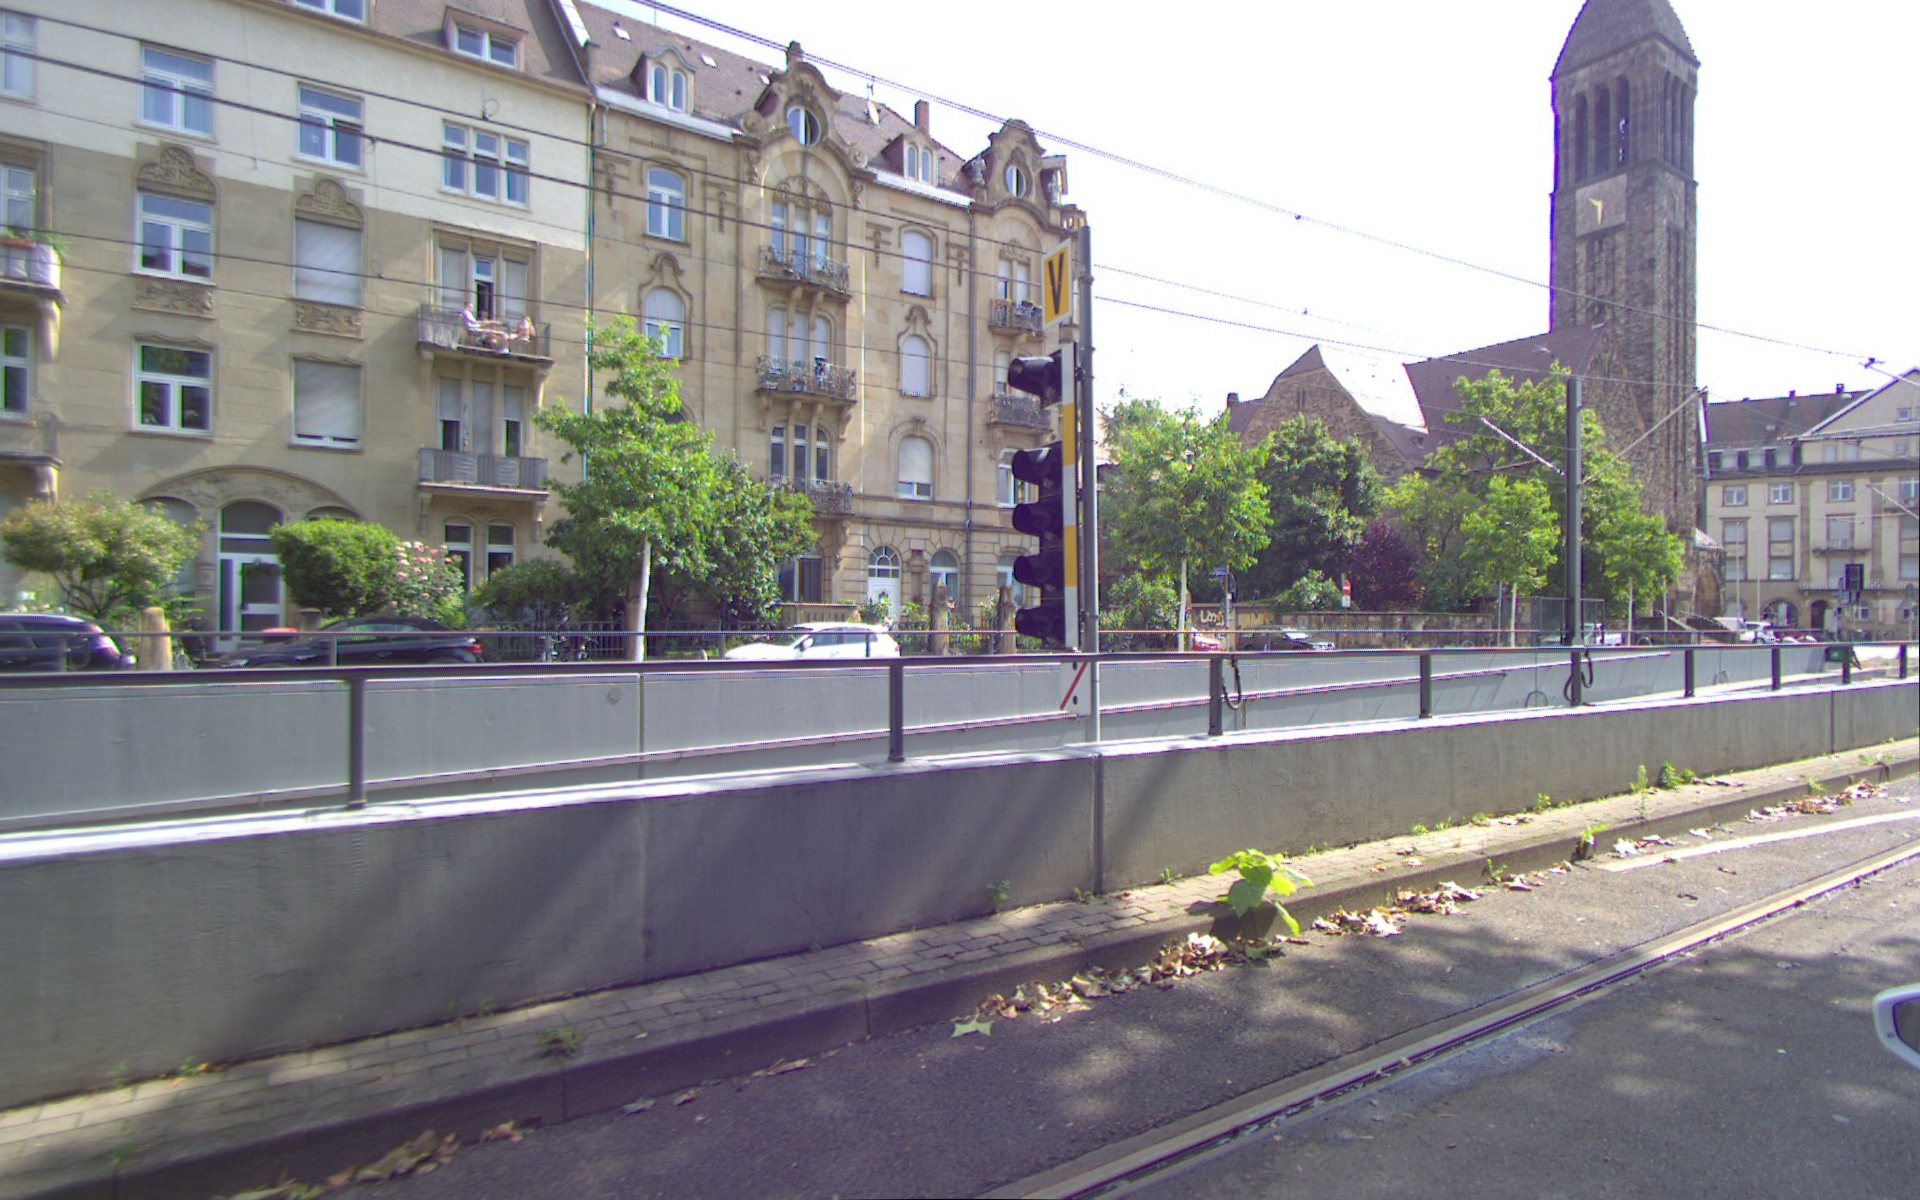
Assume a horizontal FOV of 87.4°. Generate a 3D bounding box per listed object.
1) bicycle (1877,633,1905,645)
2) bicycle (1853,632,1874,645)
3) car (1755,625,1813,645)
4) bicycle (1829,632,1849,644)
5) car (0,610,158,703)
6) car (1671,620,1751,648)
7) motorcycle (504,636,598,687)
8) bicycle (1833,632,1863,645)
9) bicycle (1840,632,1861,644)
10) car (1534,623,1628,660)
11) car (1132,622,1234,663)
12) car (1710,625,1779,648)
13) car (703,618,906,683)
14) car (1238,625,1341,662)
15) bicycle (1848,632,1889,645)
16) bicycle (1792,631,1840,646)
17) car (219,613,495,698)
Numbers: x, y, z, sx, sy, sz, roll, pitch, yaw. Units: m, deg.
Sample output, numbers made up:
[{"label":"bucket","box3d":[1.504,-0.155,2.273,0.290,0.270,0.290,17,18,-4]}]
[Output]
[{"label":"bicycle","box3d":[81.470,3.428,87.909,2.528,1.067,0.802,1,-1,-21]},{"label":"bicycle","box3d":[79.948,3.404,88.919,0.791,1.067,2.563,0,-1,28]},{"label":"car","box3d":[74.579,3.164,90.977,1.960,1.696,4.000,0,-1,0]},{"label":"bicycle","box3d":[78.526,3.373,89.770,0.729,1.067,2.563,0,-1,28]},{"label":"car","box3d":[-15.069,0.819,14.953,4.674,1.345,1.938,1,-1,-33]},{"label":"car","box3d":[49.687,2.237,66.503,1.876,1.772,3.844,1,-1,-35]},{"label":"motorcycle","box3d":[-8.105,1.206,19.872,1.403,0.954,1.750,1,-3,-34]},{"label":"bicycle","box3d":[77.362,3.331,87.520,1.938,1.129,0.487,0,-1,21]},{"label":"bicycle","box3d":[79.211,3.388,89.334,0.791,1.067,2.563,0,-1,28]},{"label":"car","box3d":[26.955,1.765,43.536,4.370,1.524,1.918,1,-1,-35]},{"label":"car","box3d":[8.667,1.624,39.353,1.910,1.483,3.763,1,-1,-29]},{"label":"car","box3d":[52.797,2.445,67.643,1.835,1.522,3.245,1,-1,-34]},{"label":"car","box3d":[-3.502,1.108,22.938,4.270,1.345,1.740,1,-2,-35]},{"label":"car","box3d":[13.716,1.781,41.964,1.705,1.483,3.941,1,-2,-32]},{"label":"bicycle","box3d":[79.064,3.374,87.434,2.520,1.067,0.681,0,-1,30]},{"label":"bicycle","box3d":[76.532,3.456,89.843,0.982,1.270,3.310,1,-1,-16]},{"label":"car","box3d":[-10.761,0.935,18.076,4.060,1.345,2.006,1,-1,-36]}]
